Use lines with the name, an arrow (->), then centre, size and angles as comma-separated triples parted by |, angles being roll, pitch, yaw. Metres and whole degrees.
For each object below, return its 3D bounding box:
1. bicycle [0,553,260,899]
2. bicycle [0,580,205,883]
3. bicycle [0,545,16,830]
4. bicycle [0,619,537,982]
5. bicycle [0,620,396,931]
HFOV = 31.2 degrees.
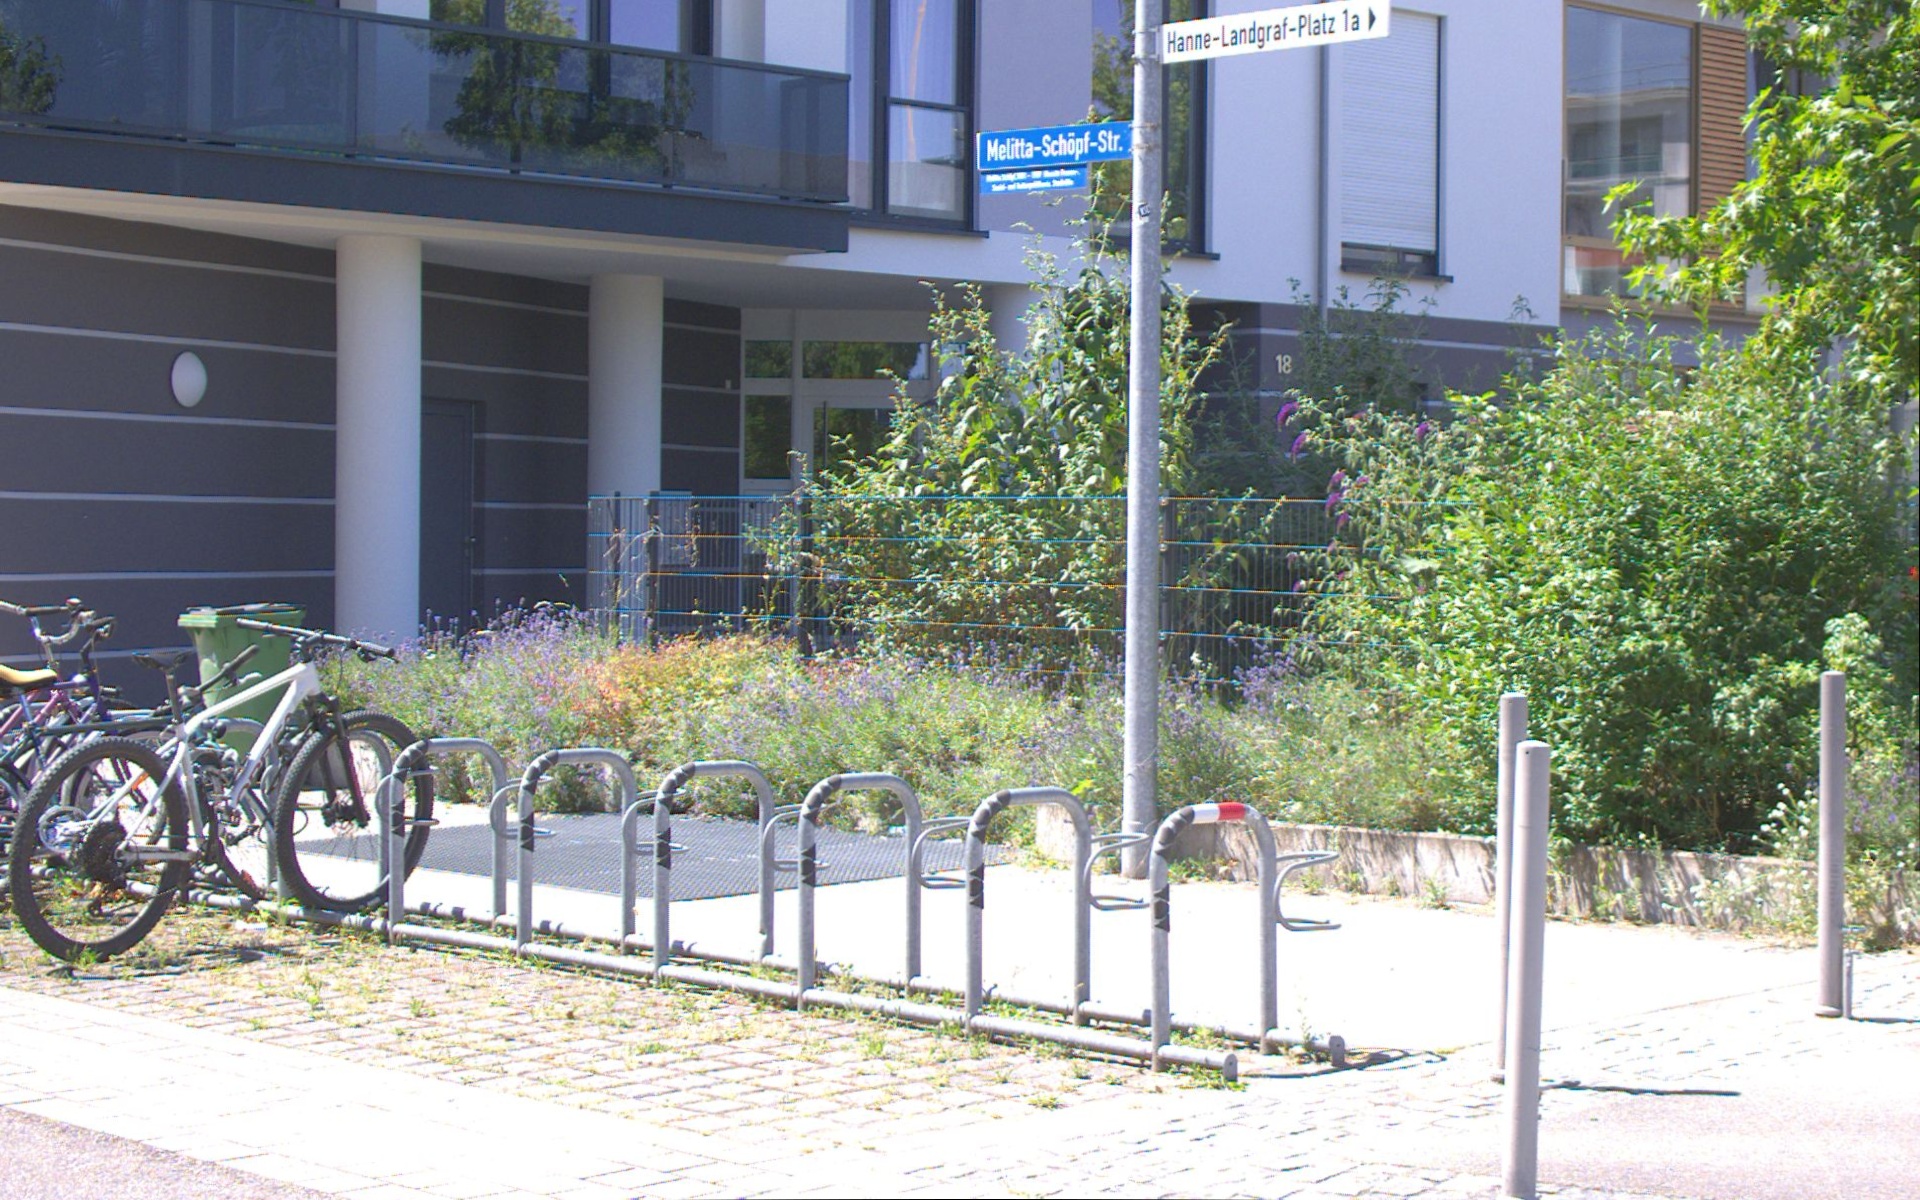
bicycle -> -3.543, 0.457, 12.656 | 1.851, 1.218, 0.555 | -2, 3, -41
bicycle -> -3.803, 0.498, 12.931 | 1.884, 1.107, 0.476 | -2, 2, -41
bicycle -> -4.919, 0.414, 14.162 | 0.825, 1.218, 1.919 | 2, 4, 31
bicycle -> -2.433, 0.616, 11.519 | 0.874, 0.999, 2.029 | 1, 3, 35
bicycle -> -3.066, 0.605, 12.239 | 1.853, 0.971, 0.945 | -2, 2, -30
